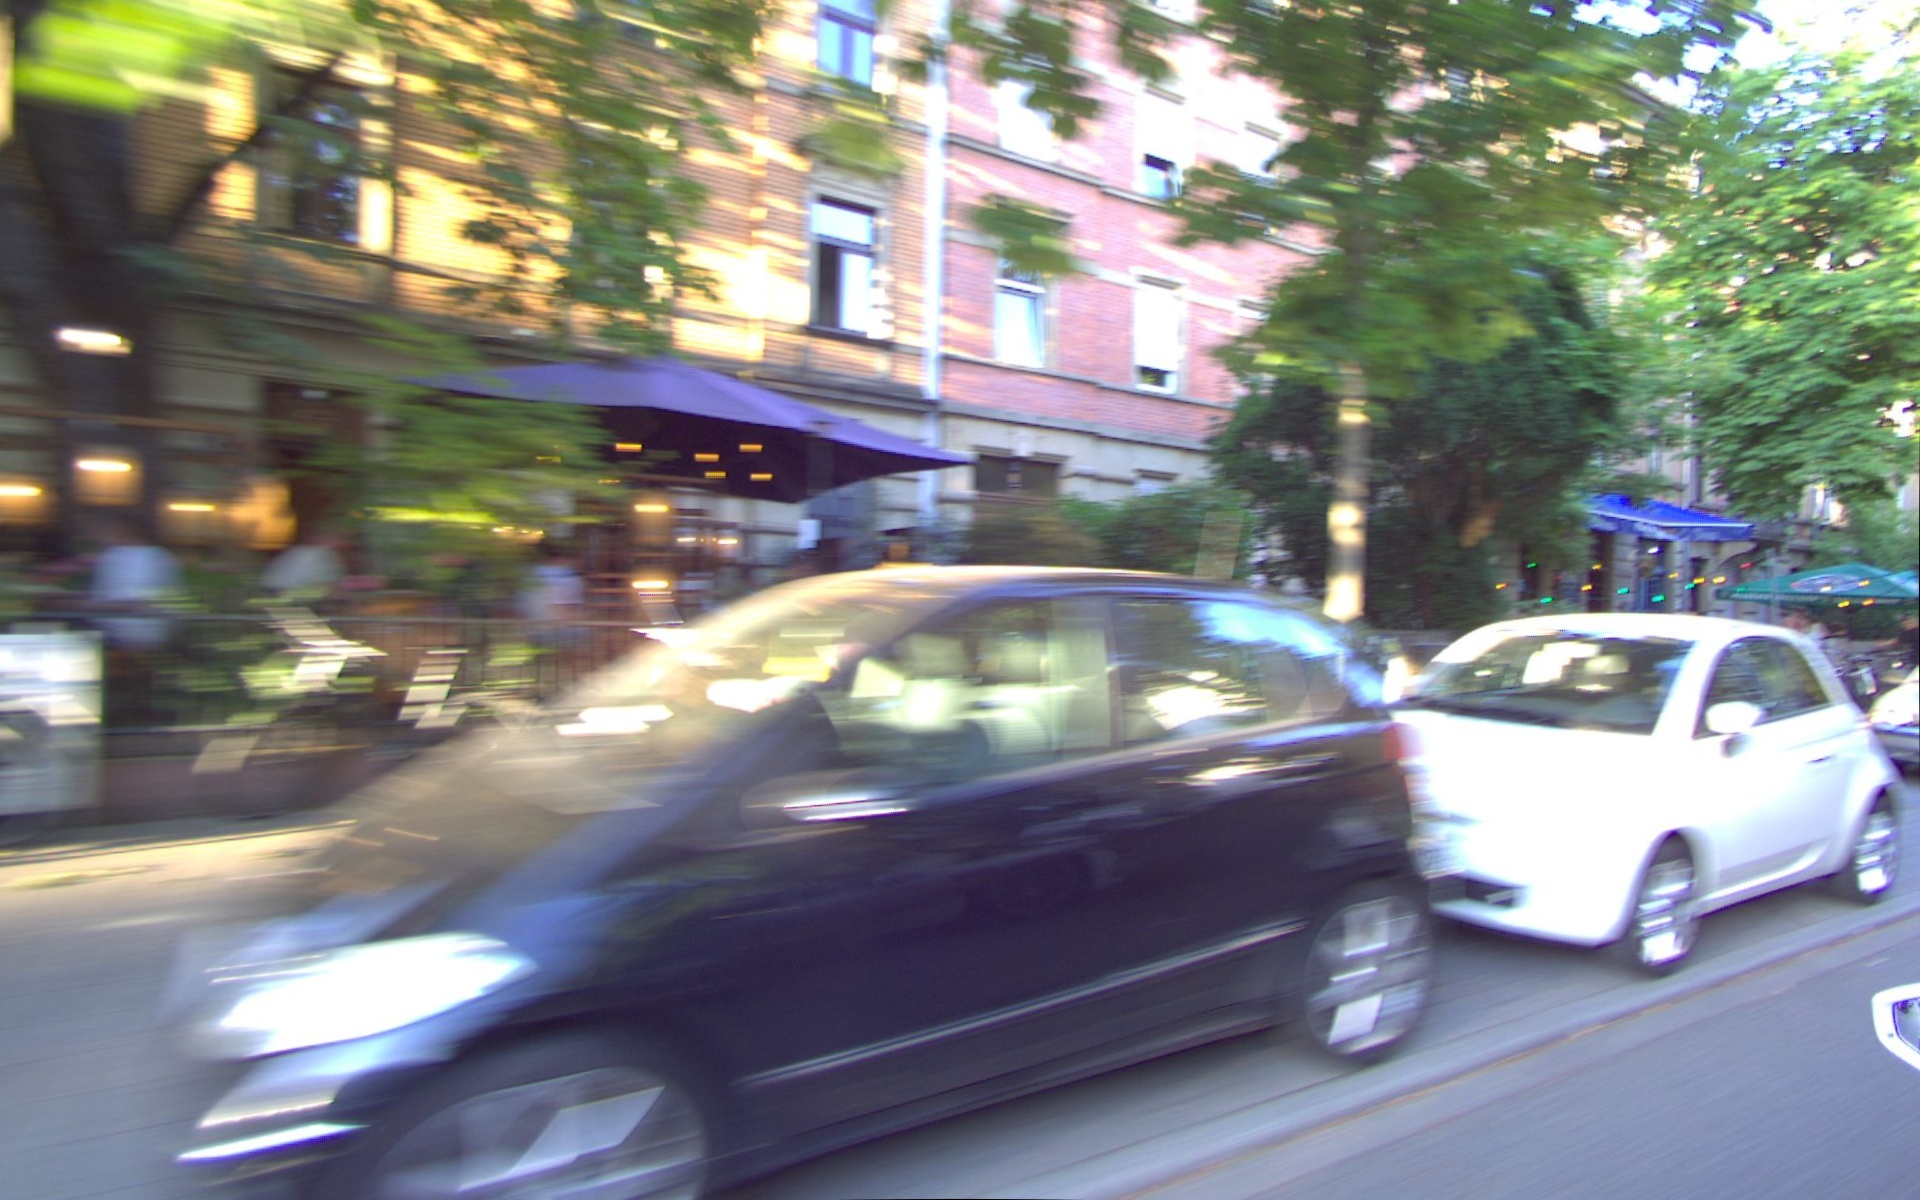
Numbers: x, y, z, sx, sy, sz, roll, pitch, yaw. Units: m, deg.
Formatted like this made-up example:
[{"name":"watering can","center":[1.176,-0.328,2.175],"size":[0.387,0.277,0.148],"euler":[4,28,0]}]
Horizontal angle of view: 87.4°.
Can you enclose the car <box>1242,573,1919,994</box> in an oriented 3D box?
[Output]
[{"name":"car","center":[3.450,0.697,5.364],"size":[3.668,1.513,1.655],"euler":[1,2,-32]}]

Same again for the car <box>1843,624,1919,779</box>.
[{"name":"car","center":[11.108,1.013,10.522],"size":[4.556,1.430,1.827],"euler":[1,1,-36]}]

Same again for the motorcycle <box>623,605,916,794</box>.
[{"name":"motorcycle","center":[-1.300,0.672,6.963],"size":[1.927,1.201,0.390],"euler":[2,1,-21]}]

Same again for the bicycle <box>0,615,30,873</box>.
[{"name":"bicycle","center":[-5.449,0.661,4.429],"size":[1.931,1.201,0.390],"euler":[2,3,-27]}]

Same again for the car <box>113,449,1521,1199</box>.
[{"name":"car","center":[-0.097,0.621,3.239],"size":[3.804,1.700,1.655],"euler":[1,2,-32]}]

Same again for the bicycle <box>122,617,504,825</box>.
[{"name":"bicycle","center":[-3.885,0.700,6.188],"size":[1.927,1.159,0.390],"euler":[1,2,-21]}]
